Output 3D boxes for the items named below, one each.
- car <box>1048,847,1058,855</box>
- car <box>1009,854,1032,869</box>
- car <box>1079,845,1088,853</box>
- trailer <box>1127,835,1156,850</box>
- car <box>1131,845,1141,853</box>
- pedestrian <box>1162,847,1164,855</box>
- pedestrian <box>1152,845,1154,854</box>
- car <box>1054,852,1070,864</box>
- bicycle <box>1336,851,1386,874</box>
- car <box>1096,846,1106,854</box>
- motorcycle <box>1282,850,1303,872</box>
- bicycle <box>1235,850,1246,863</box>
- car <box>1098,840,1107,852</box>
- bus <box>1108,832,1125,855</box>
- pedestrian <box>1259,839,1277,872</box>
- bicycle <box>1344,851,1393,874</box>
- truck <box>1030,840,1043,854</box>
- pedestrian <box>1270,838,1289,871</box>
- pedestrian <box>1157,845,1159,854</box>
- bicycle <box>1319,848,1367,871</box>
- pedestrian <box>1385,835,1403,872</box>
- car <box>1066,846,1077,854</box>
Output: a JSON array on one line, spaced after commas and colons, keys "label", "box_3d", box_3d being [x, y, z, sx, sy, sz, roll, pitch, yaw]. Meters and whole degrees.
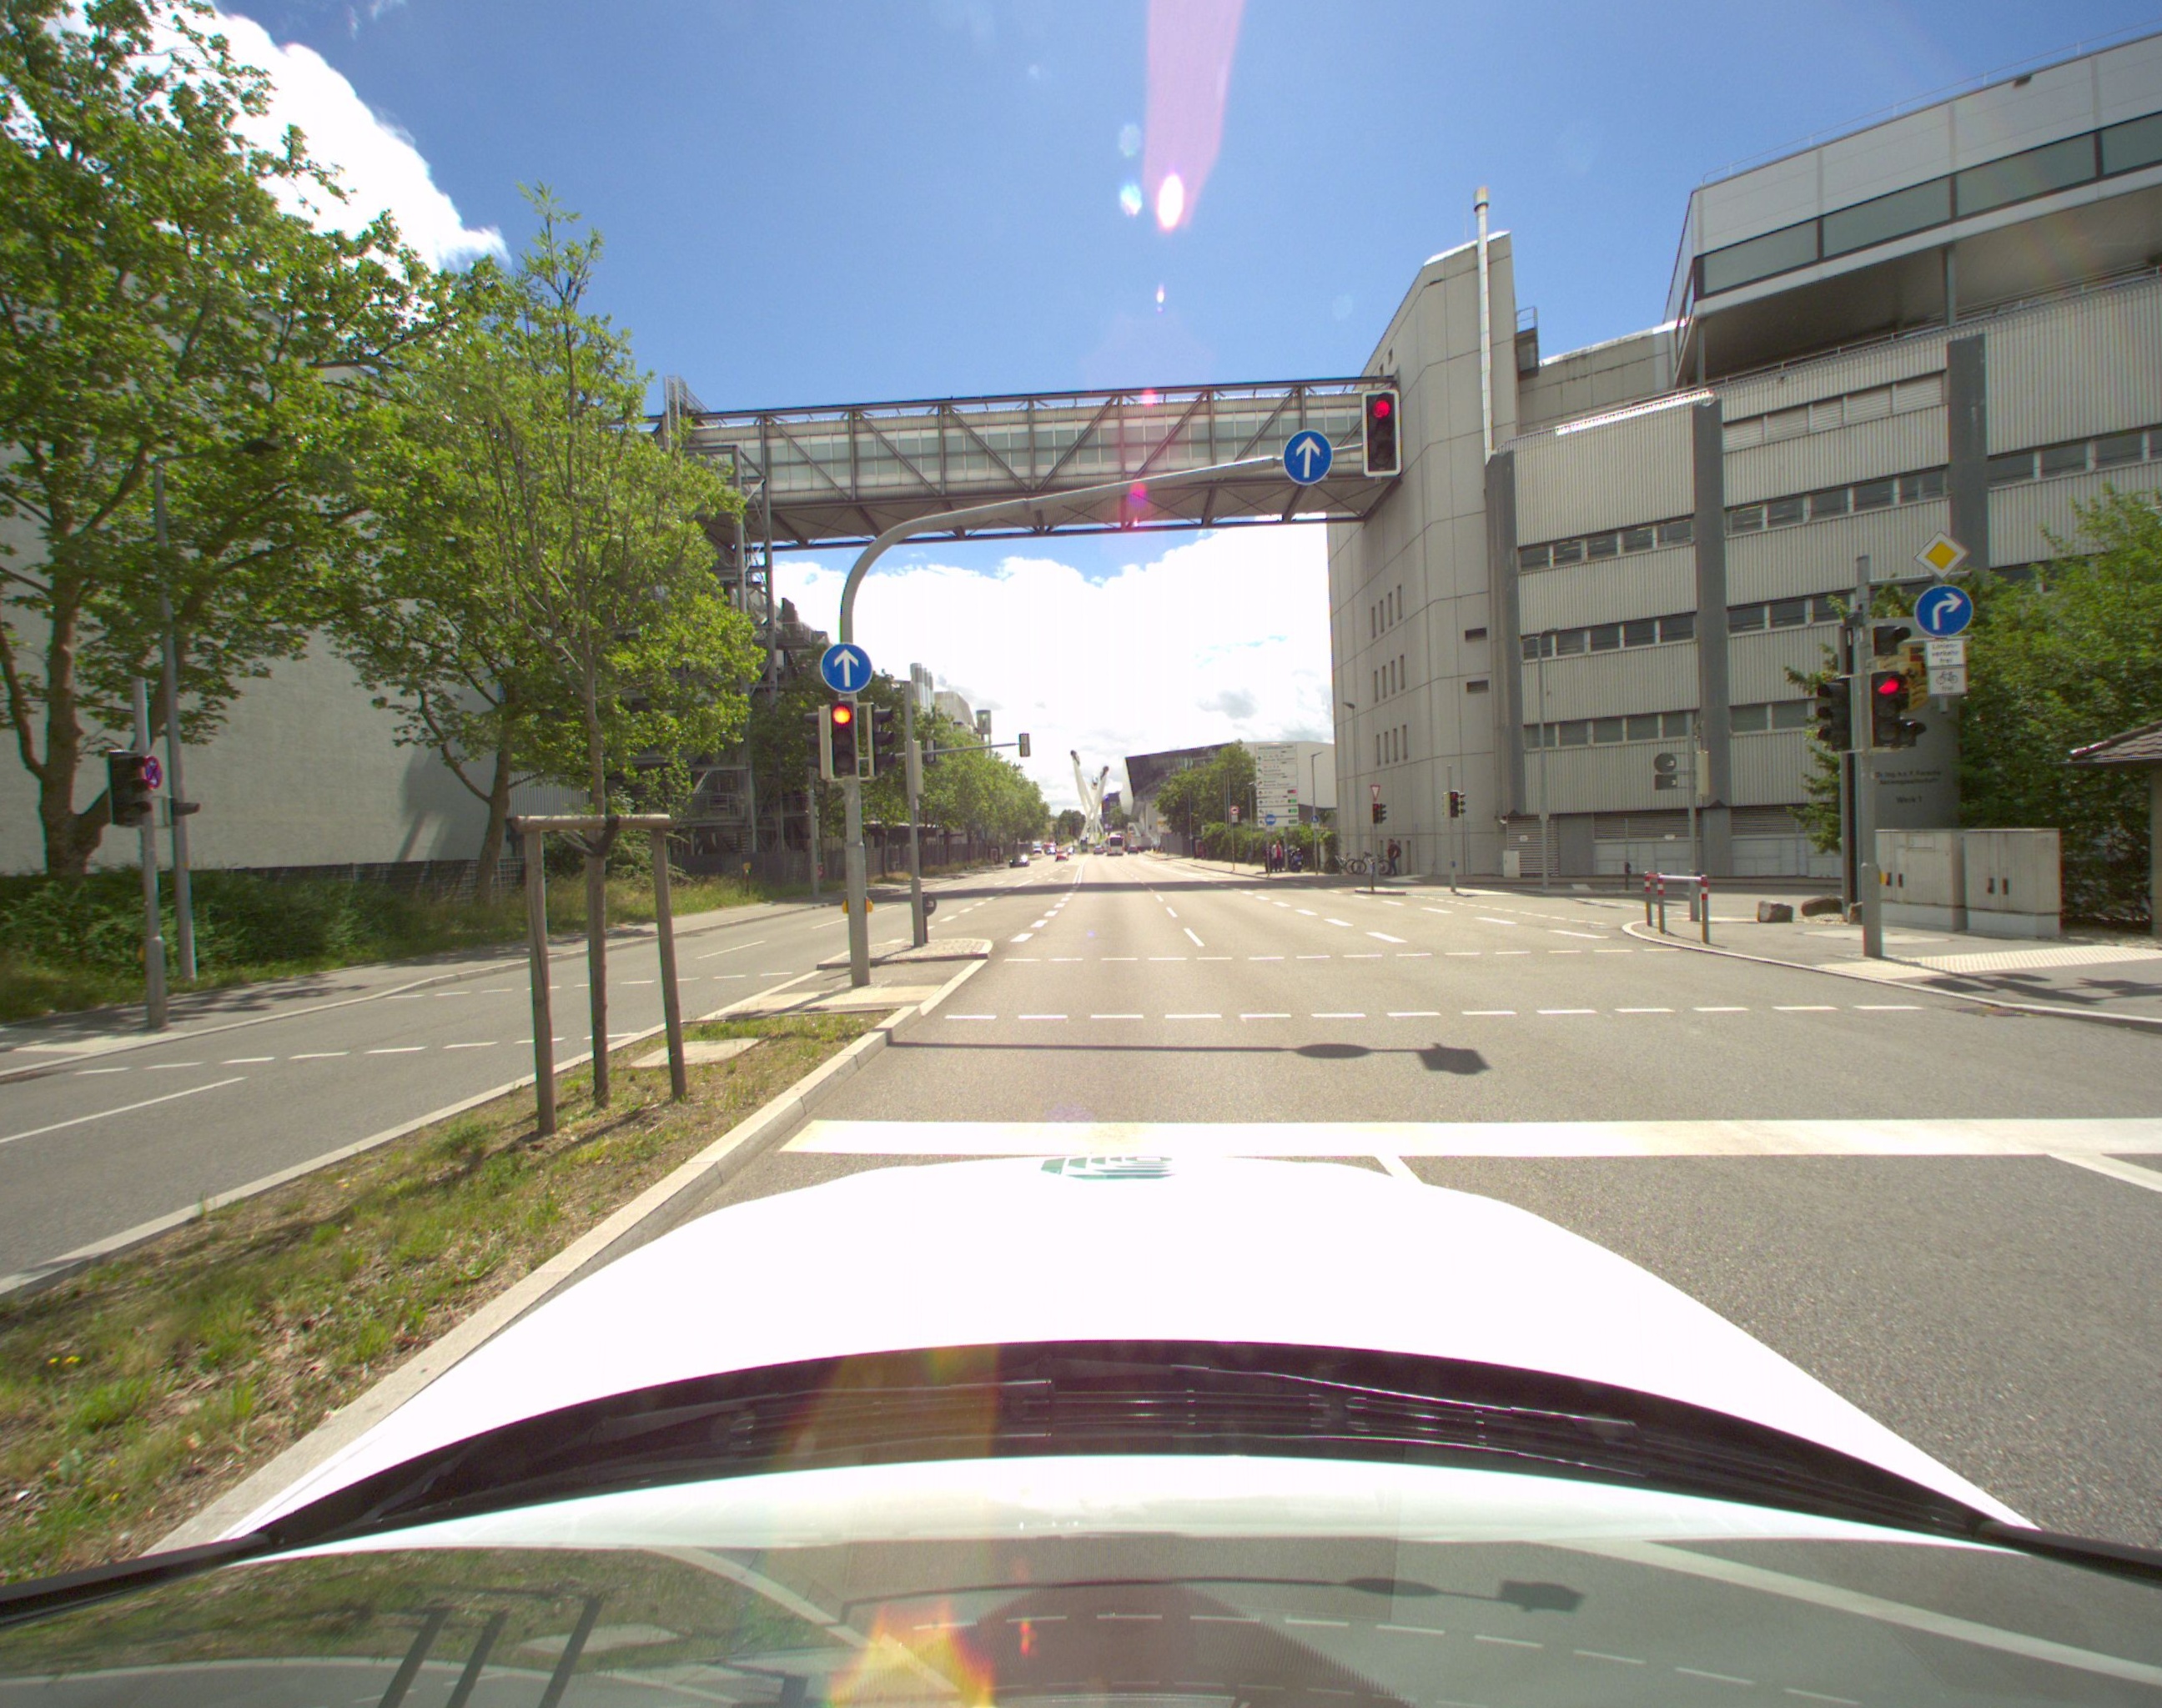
[{"label": "car", "box_3d": [-5.901, -0.558, 171.291, 1.792, 1.574, 4.000, -1, 0, 0]}, {"label": "car", "box_3d": [-6.736, 0.800, 91.268, 1.910, 1.488, 4.775, -4, 0, 3]}, {"label": "car", "box_3d": [0.462, -0.939, 155.512, 1.551, 1.273, 3.704, -4, 0, 3]}, {"label": "trailer", "box_3d": [12.833, -2.431, 172.124, 3.291, 2.995, 10.429, -1, -1, 21]}, {"label": "car", "box_3d": [9.868, -0.838, 146.194, 1.551, 1.273, 3.704, -4, 0, 3]}, {"label": "pedestrian", "box_3d": [13.898, -0.525, 138.456, 0.384, 1.421, 0.424, 0, -1, 2]}, {"label": "pedestrian", "box_3d": [12.233, -0.746, 137.944, 0.384, 1.421, 0.424, 0, -1, 2]}, {"label": "car", "box_3d": [-2.521, 0.544, 109.879, 1.762, 1.420, 3.704, -4, 0, 3]}, {"label": "bicycle", "box_3d": [13.516, 0.402, 39.362, 2.196, 1.086, 0.480, -1, -1, 37]}, {"label": "car", "box_3d": [3.649, -0.701, 148.754, 1.551, 1.273, 3.704, -4, 0, 3]}, {"label": "motorcycle", "box_3d": [11.648, 0.398, 44.897, 0.418, 1.166, 1.951, 0, -1, -9]}, {"label": "bicycle", "box_3d": [12.720, 0.174, 65.132, 0.417, 1.022, 1.911, 0, -1, -2]}, {"label": "car", "box_3d": [4.544, -1.679, 171.584, 1.838, 2.624, 3.999, 0, -1, 0]}, {"label": "bus", "box_3d": [6.045, -1.780, 137.117, 2.776, 3.686, 6.947, 0, -1, 3]}, {"label": "pedestrian", "box_3d": [10.483, 0.063, 45.740, 0.642, 1.793, 0.709, -4, 0, -14]}, {"label": "bicycle", "box_3d": [13.613, 0.396, 38.606, 2.166, 1.086, 0.480, -1, -1, 37]}, {"label": "truck", "box_3d": [-11.179, -1.642, 204.683, 2.581, 3.324, 7.083, 0, -1, 3]}, {"label": "pedestrian", "box_3d": [11.155, 0.023, 45.807, 0.692, 1.793, 0.709, -4, 0, -14]}, {"label": "pedestrian", "box_3d": [12.973, -0.794, 137.571, 0.384, 1.421, 0.424, 0, -1, 2]}, {"label": "bicycle", "box_3d": [13.083, 0.279, 40.706, 2.196, 1.086, 0.480, -1, -1, 37]}, {"label": "pedestrian", "box_3d": [14.174, -0.019, 36.895, 0.650, 1.640, 0.538, -1, -1, 30]}, {"label": "car", "box_3d": [-1.789, -0.721, 153.030, 1.762, 1.420, 3.704, -4, 0, 3]}]
